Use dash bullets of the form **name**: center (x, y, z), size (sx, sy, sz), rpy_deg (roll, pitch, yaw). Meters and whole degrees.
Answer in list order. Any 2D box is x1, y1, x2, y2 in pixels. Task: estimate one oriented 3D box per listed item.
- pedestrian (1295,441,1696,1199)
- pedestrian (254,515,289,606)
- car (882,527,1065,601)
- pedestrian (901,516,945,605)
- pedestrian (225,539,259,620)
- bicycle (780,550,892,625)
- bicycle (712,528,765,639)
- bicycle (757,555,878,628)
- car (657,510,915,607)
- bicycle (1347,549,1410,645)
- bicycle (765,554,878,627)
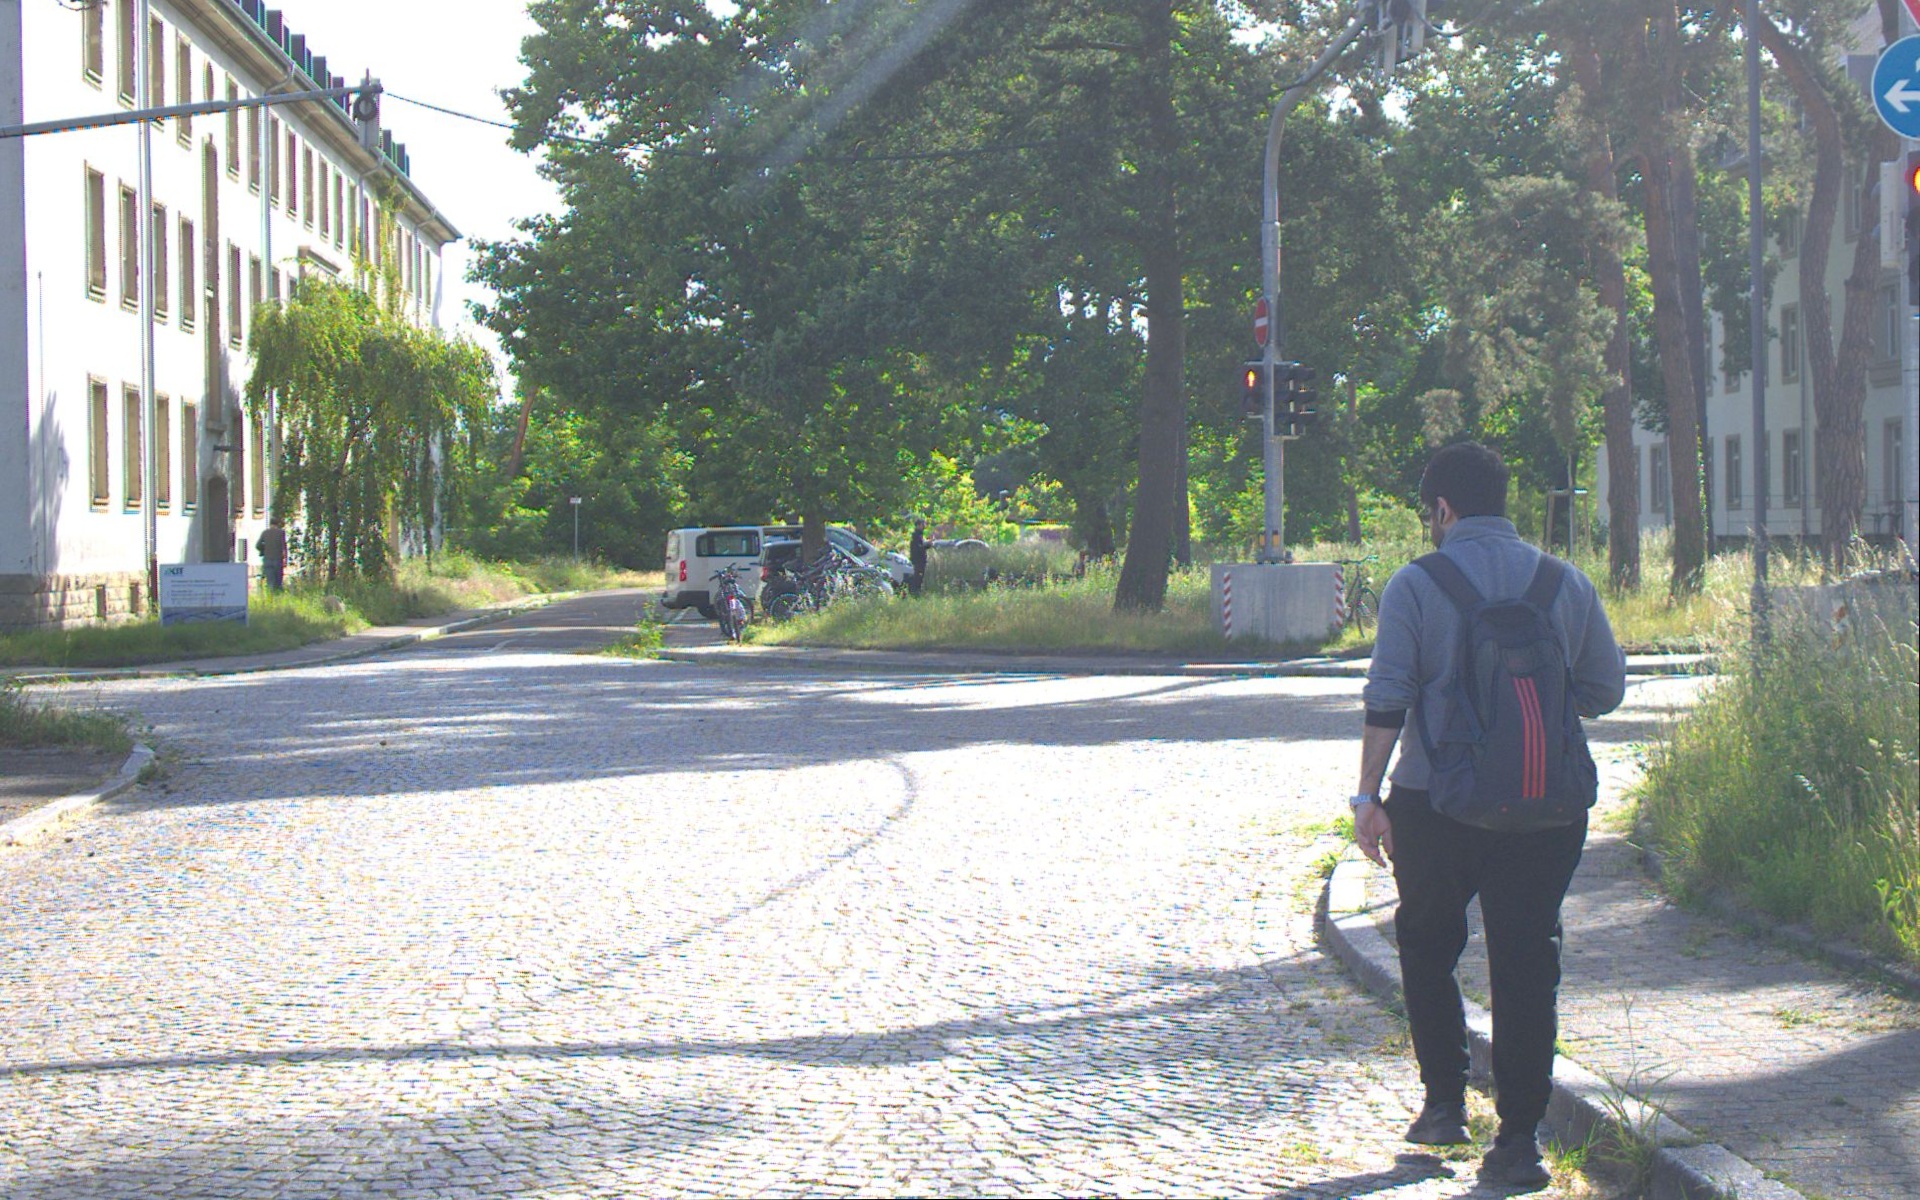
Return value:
- **pedestrian**: center (1.258, 0.497, 8.229), size (0.753, 1.719, 0.828), rpy_deg (1, 1, -3)
- **pedestrian**: center (-13.196, -0.762, 65.895), size (0.606, 1.746, 0.630), rpy_deg (-1, 1, -16)
- **car**: center (0.283, -0.801, 75.417), size (3.743, 1.574, 1.742), rpy_deg (-1, 1, -10)
- **pedestrian**: center (-0.755, -0.803, 69.863), size (0.759, 1.777, 0.684), rpy_deg (-1, 1, -11)
- **pedestrian**: center (-13.947, -0.398, 66.804), size (0.606, 1.554, 0.545), rpy_deg (0, 1, -10)
- **bicycle**: center (-1.978, -0.200, 54.687), size (1.727, 1.160, 0.561), rpy_deg (-1, 1, -6)
- **bicycle**: center (-3.239, -0.262, 50.188), size (0.753, 1.575, 2.537), rpy_deg (0, 1, -4)
- **bicycle**: center (-2.211, -0.138, 53.449), size (1.834, 1.108, 0.495), rpy_deg (-1, 1, -6)
- **car**: center (-3.628, -0.876, 71.275), size (5.065, 1.911, 2.001), rpy_deg (-1, 1, -12)
- **bicycle**: center (5.083, -0.056, 41.891), size (0.722, 1.111, 2.583), rpy_deg (-1, 1, 6)
- **bicycle**: center (-2.174, -0.148, 53.996), size (1.727, 1.108, 0.484), rpy_deg (-1, 1, -6)
